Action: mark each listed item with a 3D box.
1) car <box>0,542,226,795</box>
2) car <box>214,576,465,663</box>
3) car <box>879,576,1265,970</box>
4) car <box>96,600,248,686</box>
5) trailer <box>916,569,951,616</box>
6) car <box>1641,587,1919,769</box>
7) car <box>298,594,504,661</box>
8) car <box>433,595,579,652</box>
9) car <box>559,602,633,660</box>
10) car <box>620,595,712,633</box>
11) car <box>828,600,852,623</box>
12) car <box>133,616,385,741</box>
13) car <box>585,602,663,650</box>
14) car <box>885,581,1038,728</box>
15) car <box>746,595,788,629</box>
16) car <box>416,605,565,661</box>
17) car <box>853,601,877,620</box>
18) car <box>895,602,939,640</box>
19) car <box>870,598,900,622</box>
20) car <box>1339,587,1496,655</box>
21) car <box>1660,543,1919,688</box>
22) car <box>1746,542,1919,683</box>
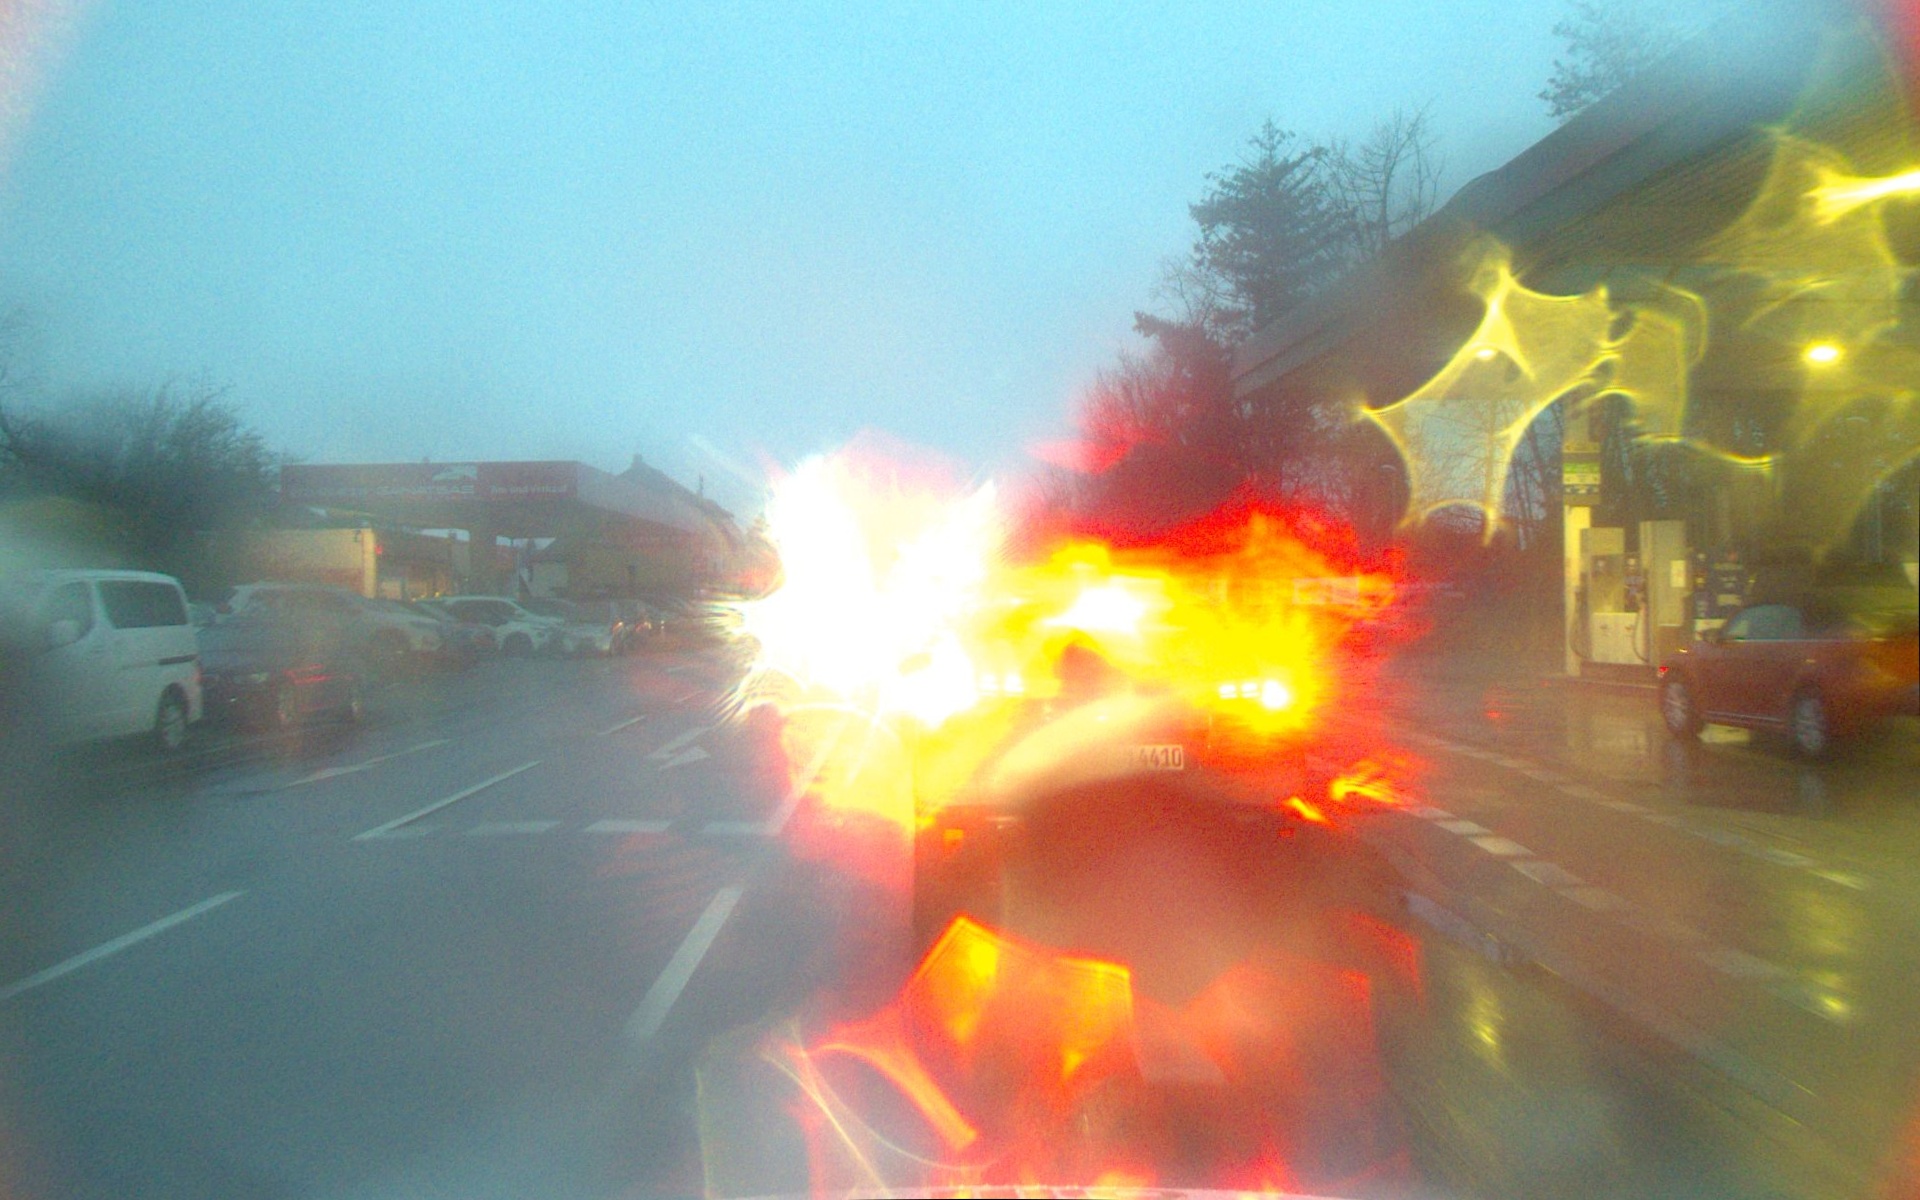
[{"bbox_3d":[-8.663,0.561,15.211,1.797,2.048,4.484,-1,0,0],"label":"car"},{"bbox_3d":[-12.701,0.381,34.101,4.446,1.706,2.008,0,0,-6],"label":"car"},{"bbox_3d":[0.410,0.687,8.571,1.533,1.556,4.005,0,0,-1],"label":"car"},{"bbox_3d":[-16.643,0.867,35.124,1.636,1.706,3.704,-1,0,-4],"label":"car"},{"bbox_3d":[-2.032,-0.491,122.886,2.438,3.297,10.863,0,0,-2],"label":"trailer"},{"bbox_3d":[8.041,0.618,15.401,1.541,1.421,4.167,-2,0,-2],"label":"car"},{"bbox_3d":[-13.190,0.625,39.210,4.248,1.524,1.825,0,0,-1],"label":"car"},{"bbox_3d":[-13.992,0.707,51.121,3.964,1.679,1.941,-1,0,0],"label":"car"},{"bbox_3d":[-10.433,0.860,47.589,1.487,1.570,3.014,-2,0,-2],"label":"car"},{"bbox_3d":[-14.497,0.683,81.745,4.190,1.691,1.999,2,0,-2],"label":"car"},{"bbox_3d":[-8.854,0.836,122.069,1.571,1.561,3.998,-2,0,-2],"label":"car"},{"bbox_3d":[-8.637,0.946,20.758,1.539,1.345,4.253,-2,-2,-4],"label":"car"},{"bbox_3d":[-10.511,0.785,51.951,1.648,1.445,3.740,-1,0,0],"label":"car"},{"bbox_3d":[-0.019,0.600,20.536,1.673,1.603,4.463,-1,0,-1],"label":"car"},{"bbox_3d":[-11.102,0.679,95.483,1.931,1.862,4.511,-2,0,-1],"label":"car"},{"bbox_3d":[-13.089,0.909,46.245,3.697,1.485,1.775,1,0,-4],"label":"car"},{"bbox_3d":[-9.404,0.996,164.259,1.952,1.777,4.001,-2,0,2],"label":"car"},{"bbox_3d":[-1.628,0.771,62.837,1.620,1.359,4.271,0,0,-1],"label":"car"},{"bbox_3d":[-5.483,0.739,121.083,2.007,1.600,4.698,-2,0,-4],"label":"car"},{"bbox_3d":[11.772,0.513,42.398,1.986,1.636,4.451,-1,0,44],"label":"car"},{"bbox_3d":[12.224,0.199,24.236,1.953,1.892,4.297,-2,0,-2],"label":"car"},{"bbox_3d":[14.386,0.184,26.114,1.953,2.049,3.998,0,0,-2],"label":"car"}]
